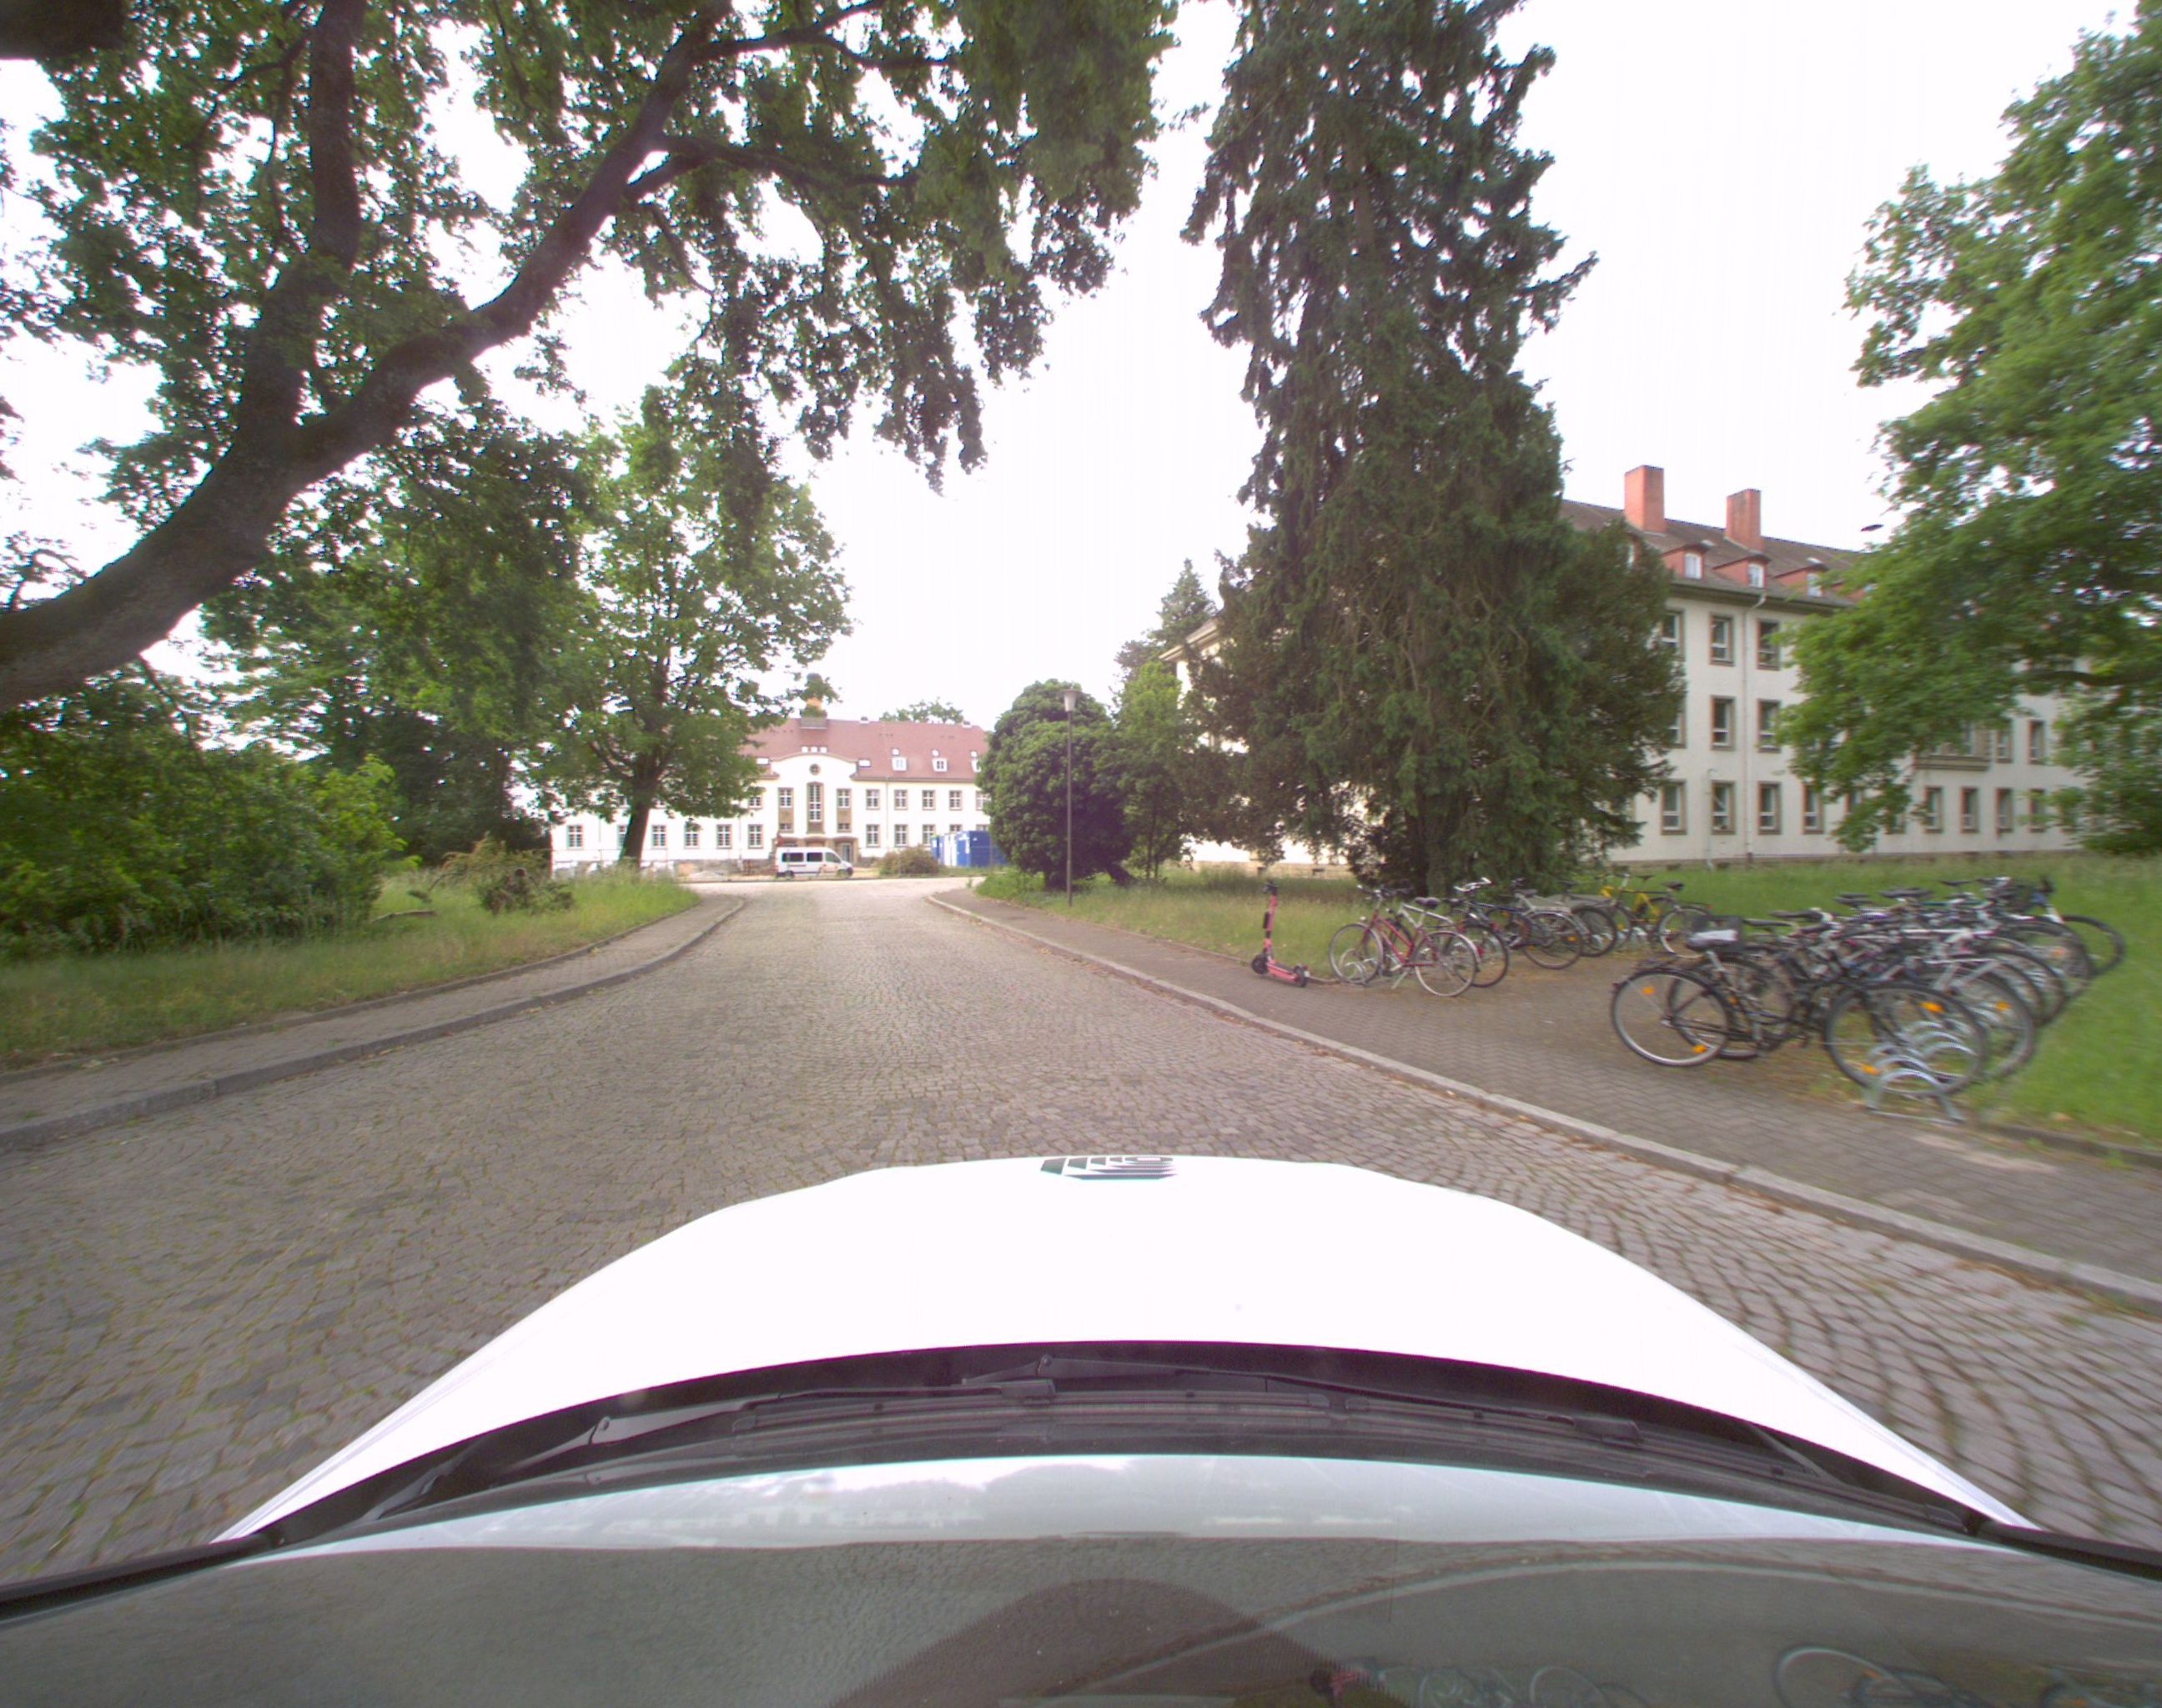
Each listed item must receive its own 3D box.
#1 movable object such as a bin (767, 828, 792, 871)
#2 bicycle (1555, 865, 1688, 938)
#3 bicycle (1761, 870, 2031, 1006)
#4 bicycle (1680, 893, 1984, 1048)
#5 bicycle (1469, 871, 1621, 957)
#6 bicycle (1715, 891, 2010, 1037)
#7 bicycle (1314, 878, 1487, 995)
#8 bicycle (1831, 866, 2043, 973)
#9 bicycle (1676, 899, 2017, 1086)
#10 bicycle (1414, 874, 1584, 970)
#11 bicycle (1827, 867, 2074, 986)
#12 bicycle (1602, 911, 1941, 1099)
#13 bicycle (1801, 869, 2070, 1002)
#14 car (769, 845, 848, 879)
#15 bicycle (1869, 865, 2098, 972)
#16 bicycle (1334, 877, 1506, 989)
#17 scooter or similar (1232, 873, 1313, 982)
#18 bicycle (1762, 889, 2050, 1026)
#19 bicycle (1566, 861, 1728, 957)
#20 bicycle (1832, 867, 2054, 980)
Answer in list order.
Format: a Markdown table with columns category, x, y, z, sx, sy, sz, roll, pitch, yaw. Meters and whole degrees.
| category | x | y | z | sx | sy | sz | roll | pitch | yaw |
| --- | --- | --- | --- | --- | --- | --- | --- | --- | --- |
| movable object such as a bin | -27.985 | -0.404 | 75.510 | 2.002 | 3.771 | 5.277 | -1 | 0 | -23 |
| bicycle | 8.472 | 0.715 | 12.825 | 0.553 | 1.042 | 1.666 | 0 | 0 | -33 |
| bicycle | 7.619 | 0.721 | 7.706 | 0.480 | 1.112 | 1.746 | 0 | 0 | -35 |
| bicycle | 5.724 | 0.825 | 6.319 | 0.480 | 1.008 | 1.649 | 0 | -1 | -35 |
| bicycle | 6.345 | 0.777 | 11.211 | 0.555 | 1.065 | 1.732 | 0 | 0 | -45 |
| bicycle | 6.265 | 0.821 | 6.630 | 0.480 | 1.008 | 1.649 | 0 | -1 | -35 |
| bicycle | 3.490 | 0.857 | 9.042 | 0.554 | 1.114 | 1.750 | 0 | 0 | -37 |
| bicycle | 9.843 | 0.704 | 9.439 | 0.443 | 1.112 | 1.636 | 0 | 0 | -29 |
| bicycle | 5.071 | 0.859 | 5.533 | 1.602 | 1.074 | 0.481 | -2 | -2 | 40 |
| bicycle | 5.219 | 0.803 | 10.255 | 0.622 | 1.065 | 1.803 | 0 | 0 | -45 |
| bicycle | 9.168 | 0.708 | 8.669 | 0.480 | 1.112 | 1.746 | 0 | 0 | -35 |
| bicycle | 4.396 | 0.903 | 5.317 | 1.602 | 1.008 | 0.481 | -2 | -2 | 40 |
| bicycle | 8.137 | 0.719 | 7.847 | 0.480 | 1.112 | 1.744 | 0 | 0 | -41 |
| car | -19.428 | 0.557 | 58.261 | 5.277 | 2.344 | 1.898 | -1 | 0 | -18 |
| bicycle | 10.455 | 0.696 | 9.505 | 0.480 | 1.112 | 1.746 | 0 | 0 | -35 |
| bicycle | 3.850 | 0.851 | 9.388 | 0.554 | 1.114 | 1.785 | 0 | 0 | -37 |
| scooter or similar | 2.304 | 0.855 | 9.917 | 0.358 | 1.209 | 1.129 | 0 | 0 | -23 |
| bicycle | 6.966 | 0.816 | 6.971 | 0.480 | 1.008 | 1.649 | 0 | -1 | -35 |
| bicycle | 7.568 | 0.693 | 10.989 | 0.553 | 1.171 | 1.739 | 0 | 0 | -27 |
| bicycle | 9.467 | 0.710 | 9.021 | 0.443 | 1.112 | 1.636 | 0 | 0 | -29 |
